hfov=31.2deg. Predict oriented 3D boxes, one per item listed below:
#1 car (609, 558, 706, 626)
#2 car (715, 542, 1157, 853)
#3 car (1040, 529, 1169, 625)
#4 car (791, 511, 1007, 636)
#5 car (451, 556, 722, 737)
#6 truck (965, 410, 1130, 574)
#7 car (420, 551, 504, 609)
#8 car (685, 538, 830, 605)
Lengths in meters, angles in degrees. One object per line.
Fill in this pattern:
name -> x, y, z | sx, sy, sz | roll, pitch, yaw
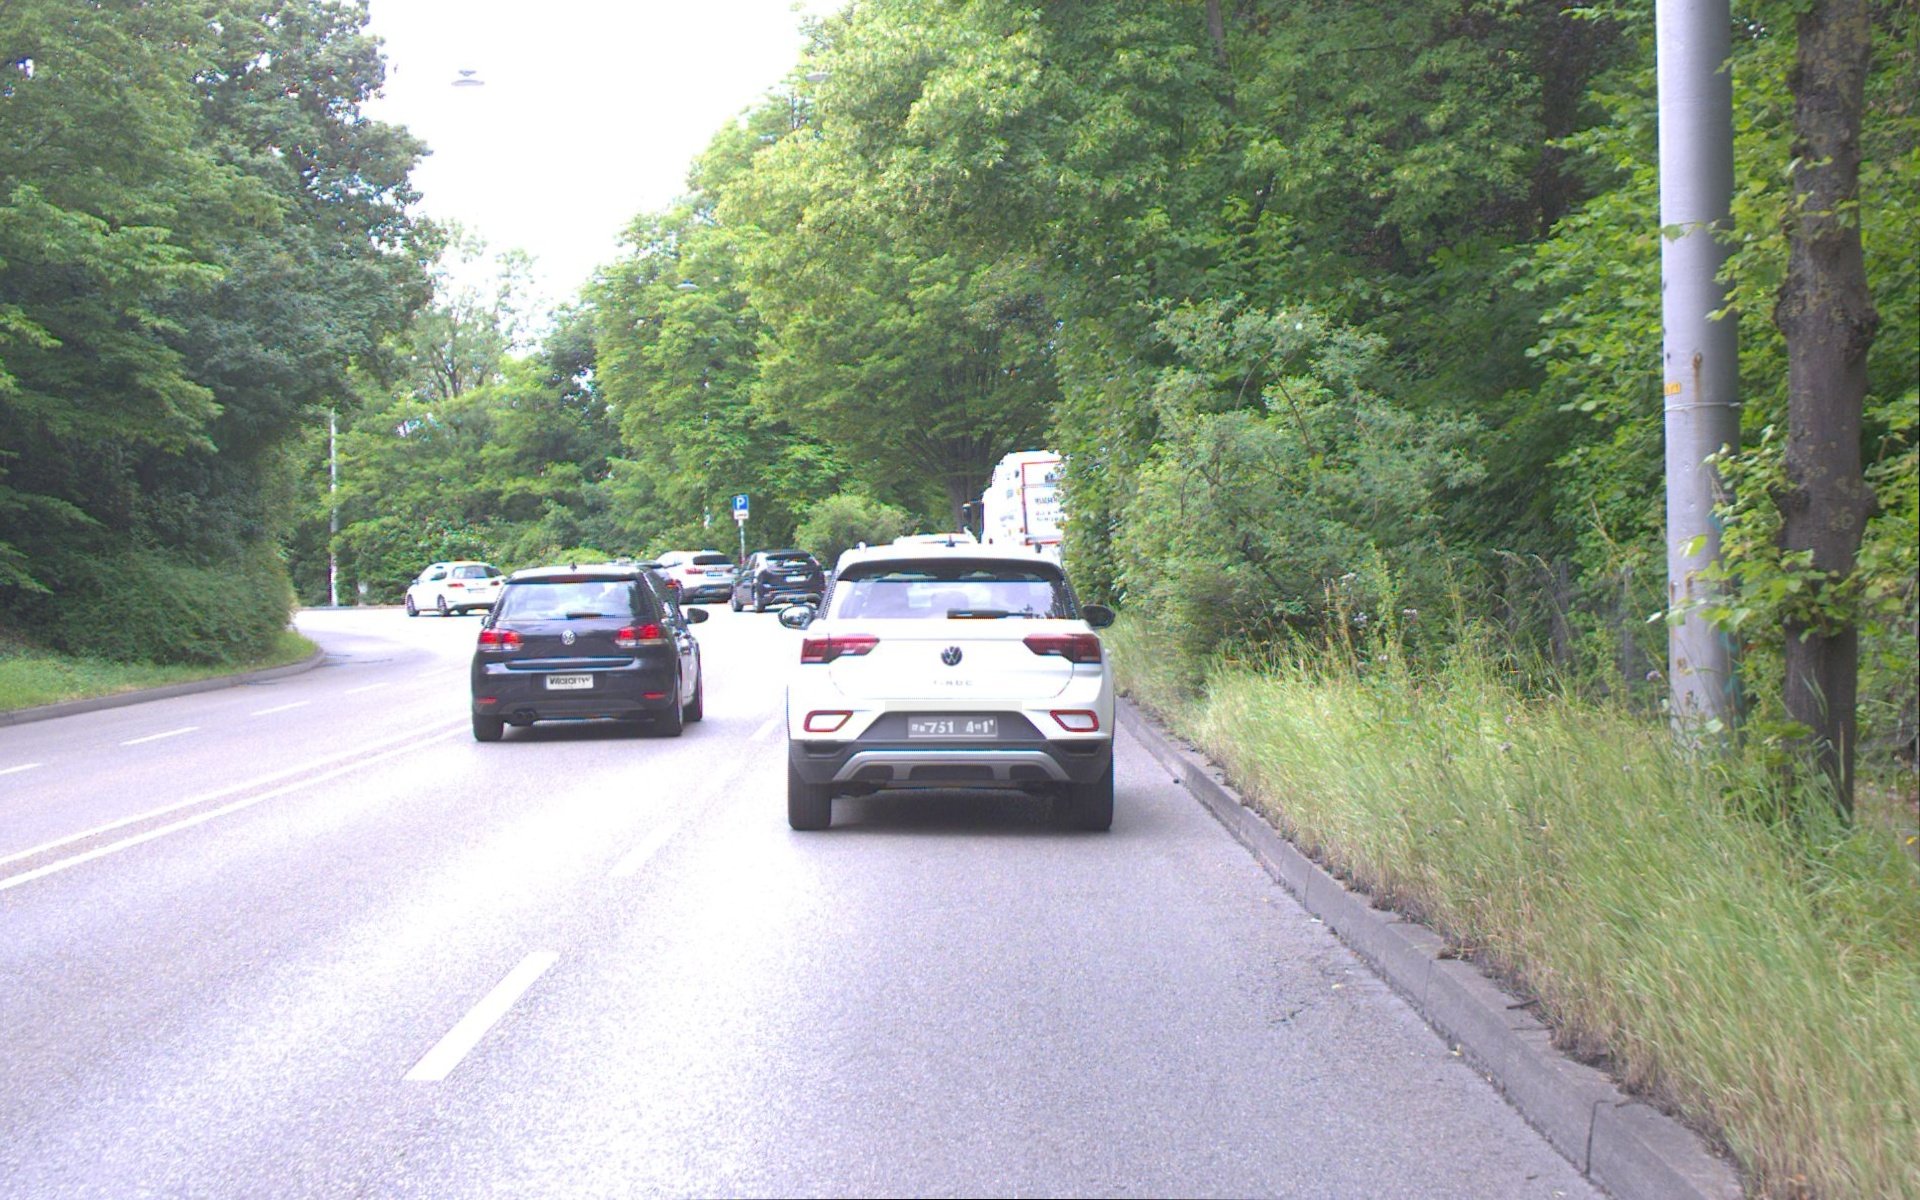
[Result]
car -> -7.275, -0.207, 82.984 | 1.993, 1.586, 4.000 | 0, 0, 0
car -> -0.256, 0.484, 19.699 | 2.000, 1.590, 4.001 | 0, 0, -8
car -> 2.489, -0.412, 60.078 | 1.803, 1.519, 4.000 | -3, 1, -3
car -> -0.955, -0.412, 51.522 | 1.851, 1.697, 4.001 | -4, 2, -22
car -> -3.177, 0.362, 29.969 | 1.949, 1.461, 4.000 | 0, 0, 0
truck -> 1.715, -2.134, 70.453 | 2.481, 3.171, 7.230 | 0, 0, -6
car -> -14.193, -0.551, 98.187 | 1.821, 1.617, 4.000 | 0, 0, 0
car -> -4.950, -0.700, 83.720 | 1.766, 1.601, 4.000 | 0, 1, -33
